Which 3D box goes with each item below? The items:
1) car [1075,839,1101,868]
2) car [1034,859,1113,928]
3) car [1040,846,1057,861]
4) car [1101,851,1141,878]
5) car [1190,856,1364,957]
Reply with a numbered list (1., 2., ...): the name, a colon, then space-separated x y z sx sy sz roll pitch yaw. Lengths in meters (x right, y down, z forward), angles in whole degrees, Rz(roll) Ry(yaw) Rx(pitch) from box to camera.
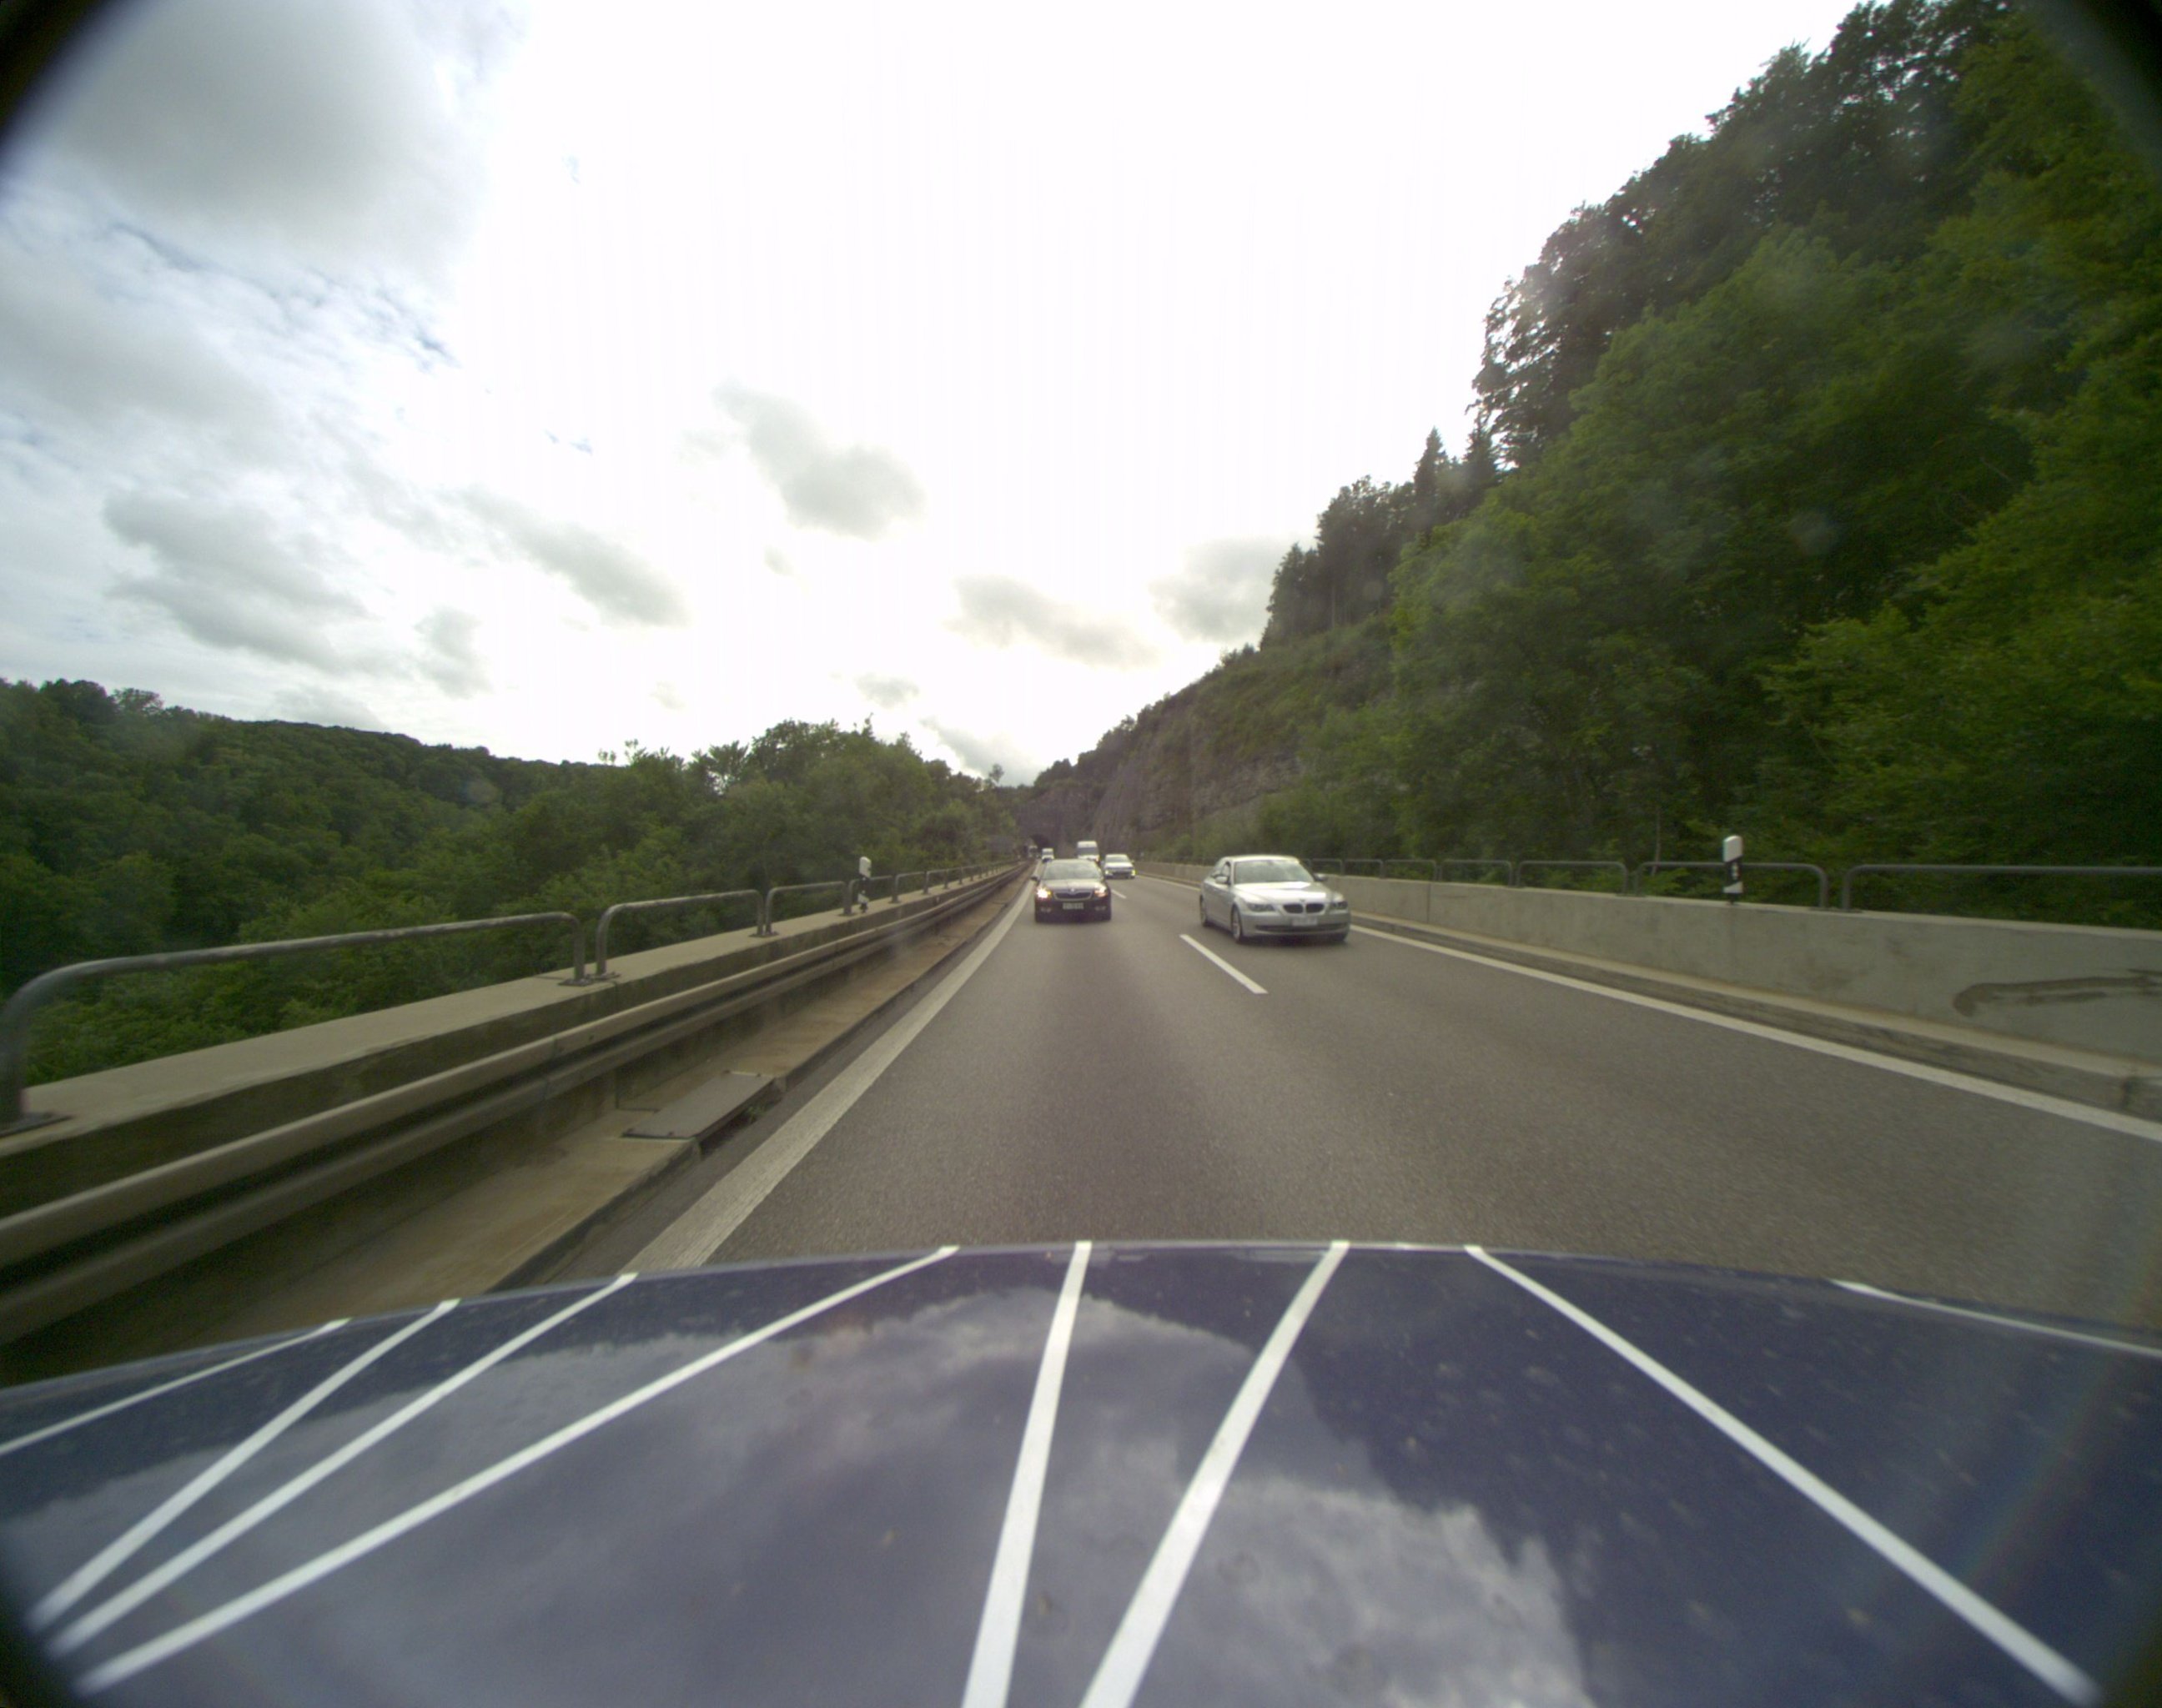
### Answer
1. car: 0.567 -0.097 68.290 1.869 2.444 4.980 -2 2 -4
2. car: -0.196 0.874 18.864 1.677 1.418 4.472 -2 0 -1
3. car: -5.702 -0.139 131.974 2.675 2.408 6.118 -2 0 -4
4. car: 2.356 0.597 45.977 1.923 1.452 4.229 -2 0 -3
5. car: 3.361 0.808 14.156 1.833 1.448 5.134 -2 0 -1
